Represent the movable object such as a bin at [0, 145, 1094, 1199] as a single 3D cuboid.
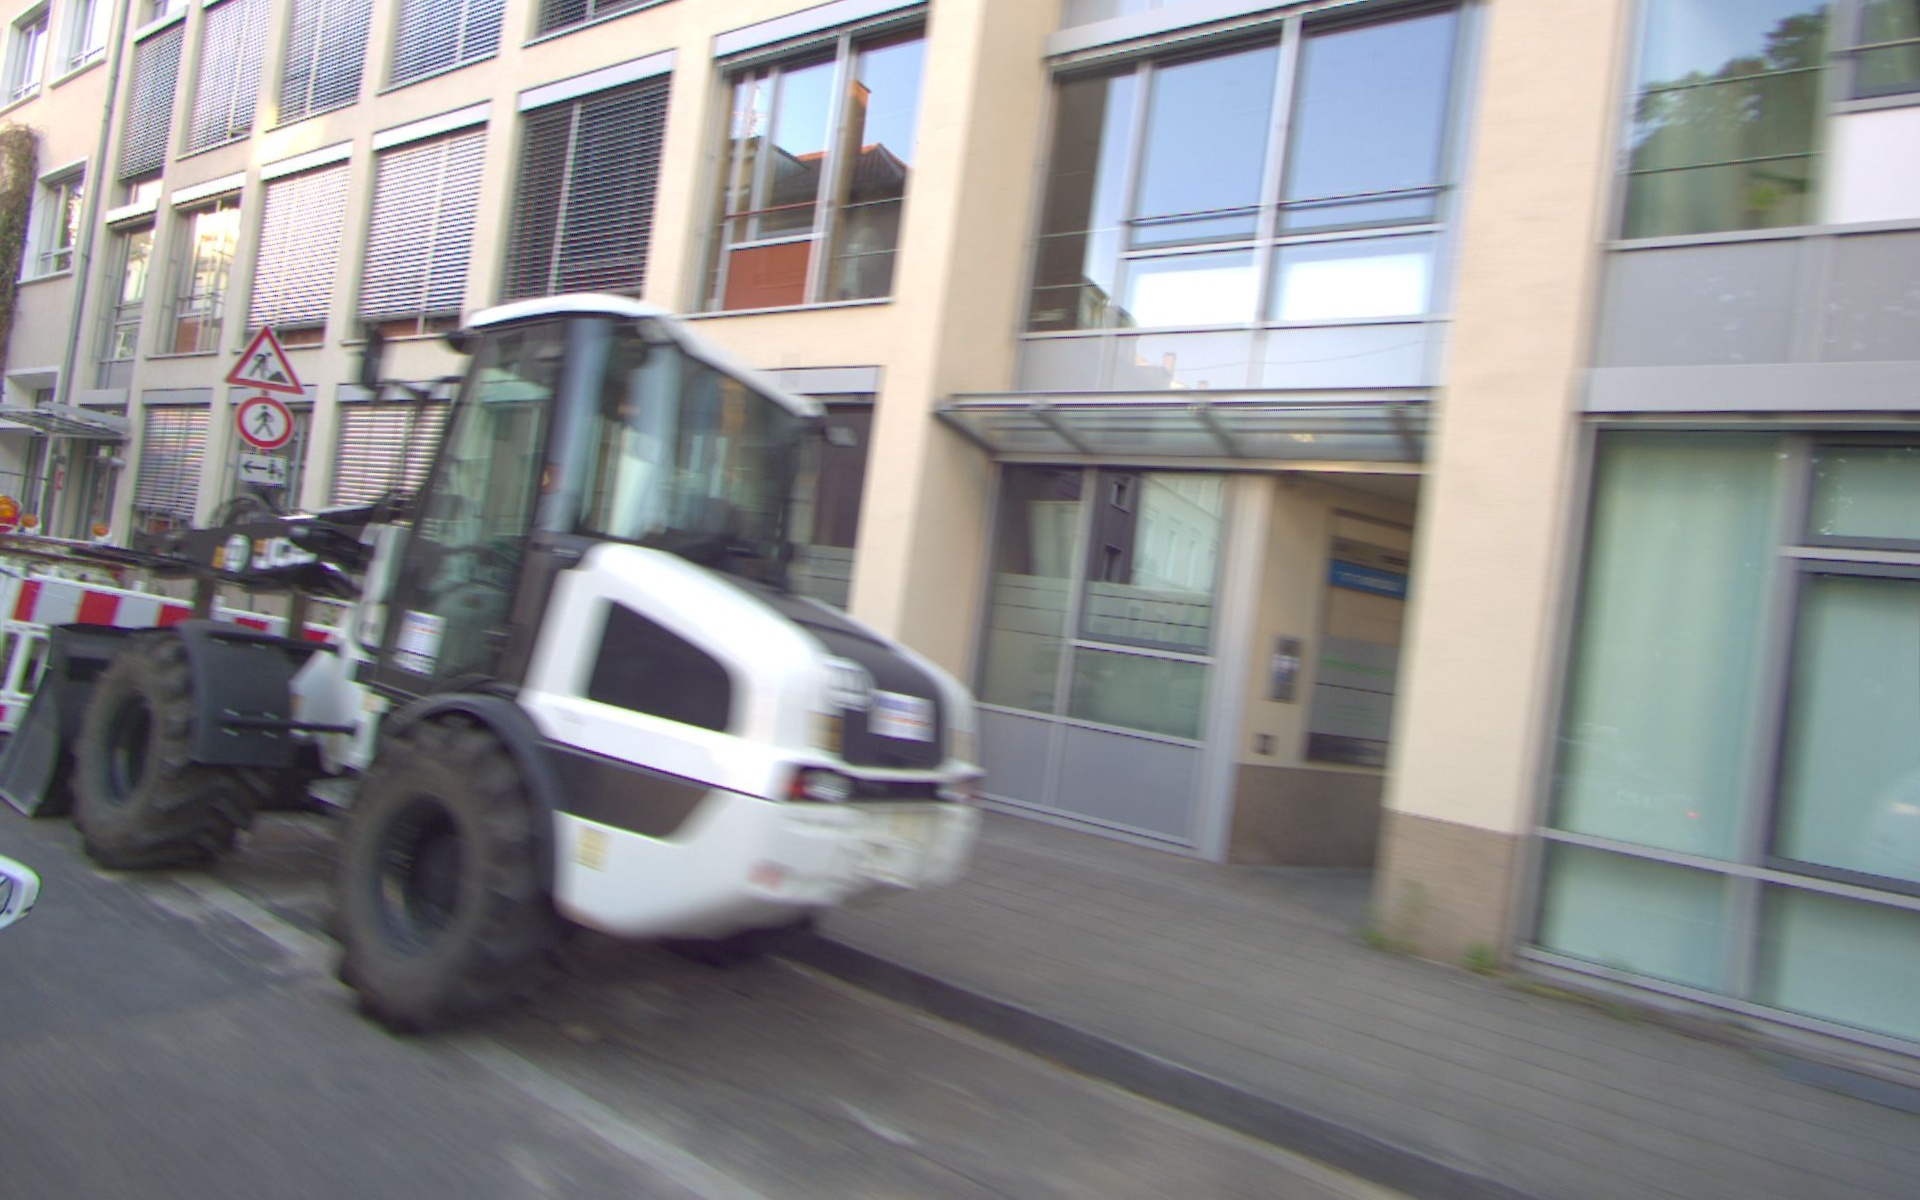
[{"bbox_3d":[-2.523,0.027,4.842,5.657,2.651,2.022,7,-4,33],"label":"movable object such as a bin"}]
